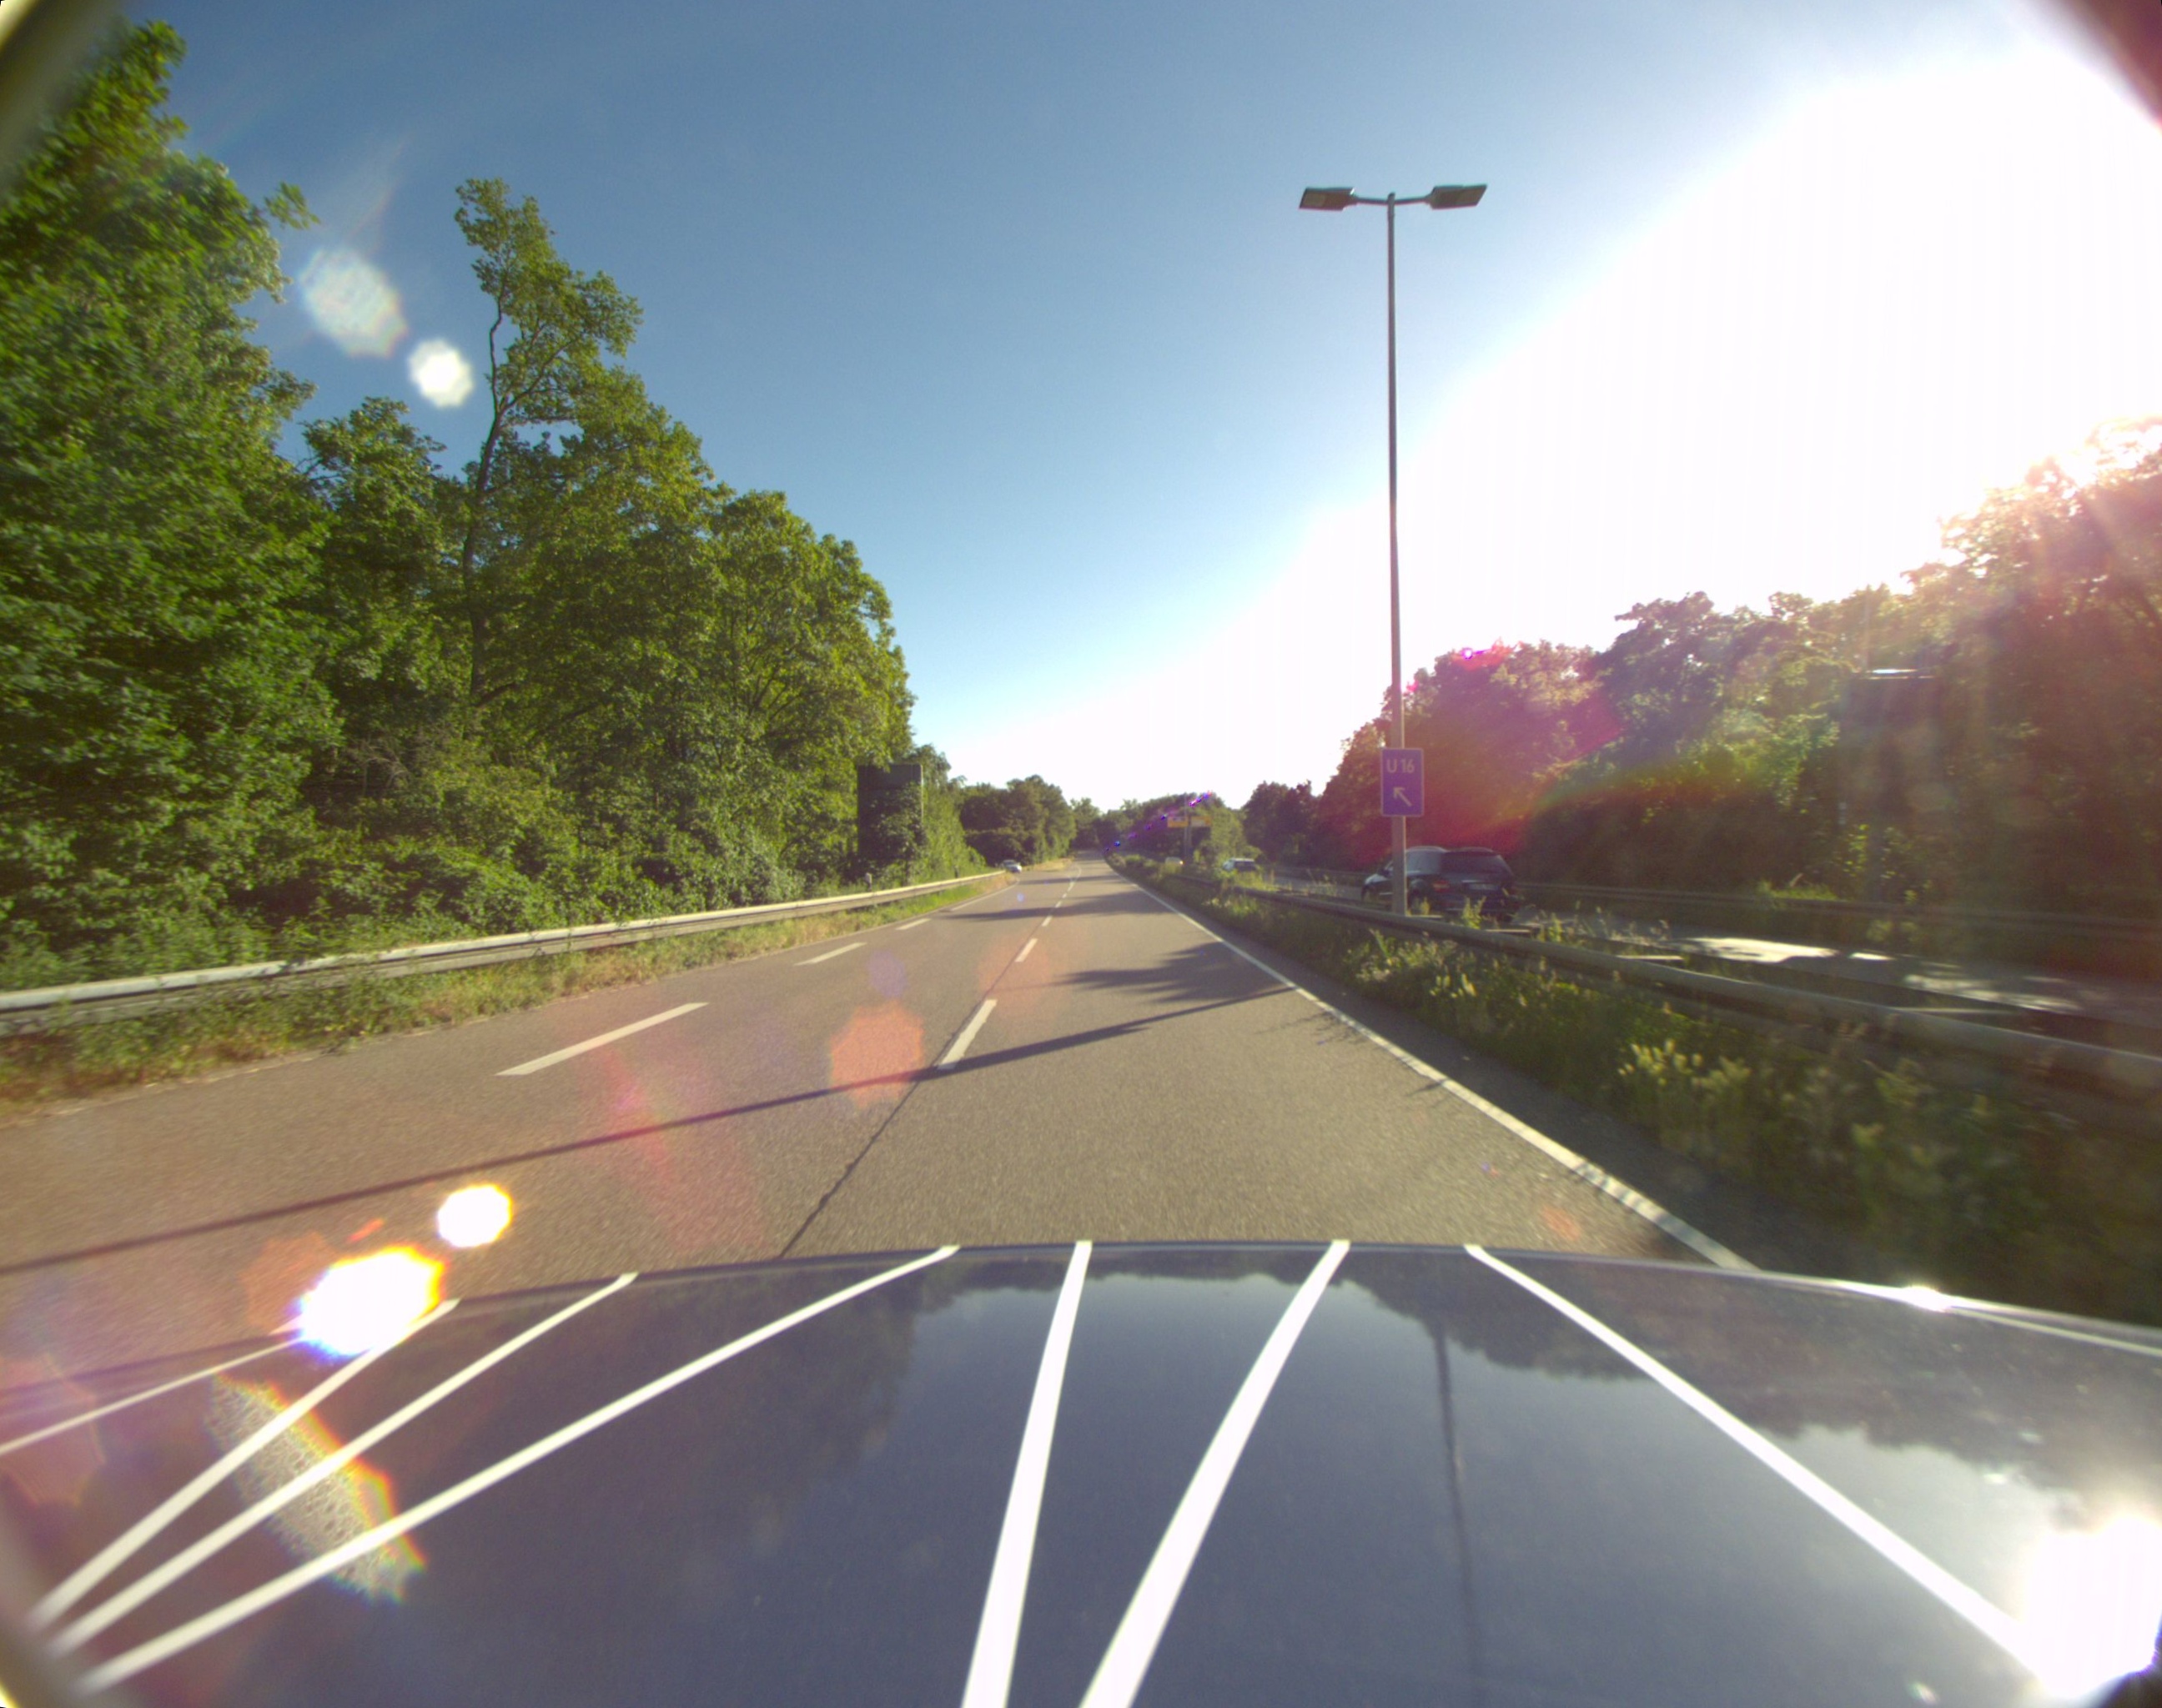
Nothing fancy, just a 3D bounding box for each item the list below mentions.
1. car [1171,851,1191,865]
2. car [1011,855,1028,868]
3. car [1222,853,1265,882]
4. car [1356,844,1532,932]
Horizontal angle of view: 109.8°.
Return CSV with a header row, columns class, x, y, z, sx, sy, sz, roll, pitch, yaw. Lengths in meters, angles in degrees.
class,x,y,z,sx,sy,sz,roll,pitch,yaw
car,10.583,0.379,80.555,1.785,1.395,4.553,0,0,3
car,-6.976,0.818,86.339,1.682,1.477,3.390,0,0,0
car,8.968,0.697,42.306,1.622,1.521,4.609,0,0,3
car,8.065,0.664,17.451,1.846,1.747,4.711,0,0,1
